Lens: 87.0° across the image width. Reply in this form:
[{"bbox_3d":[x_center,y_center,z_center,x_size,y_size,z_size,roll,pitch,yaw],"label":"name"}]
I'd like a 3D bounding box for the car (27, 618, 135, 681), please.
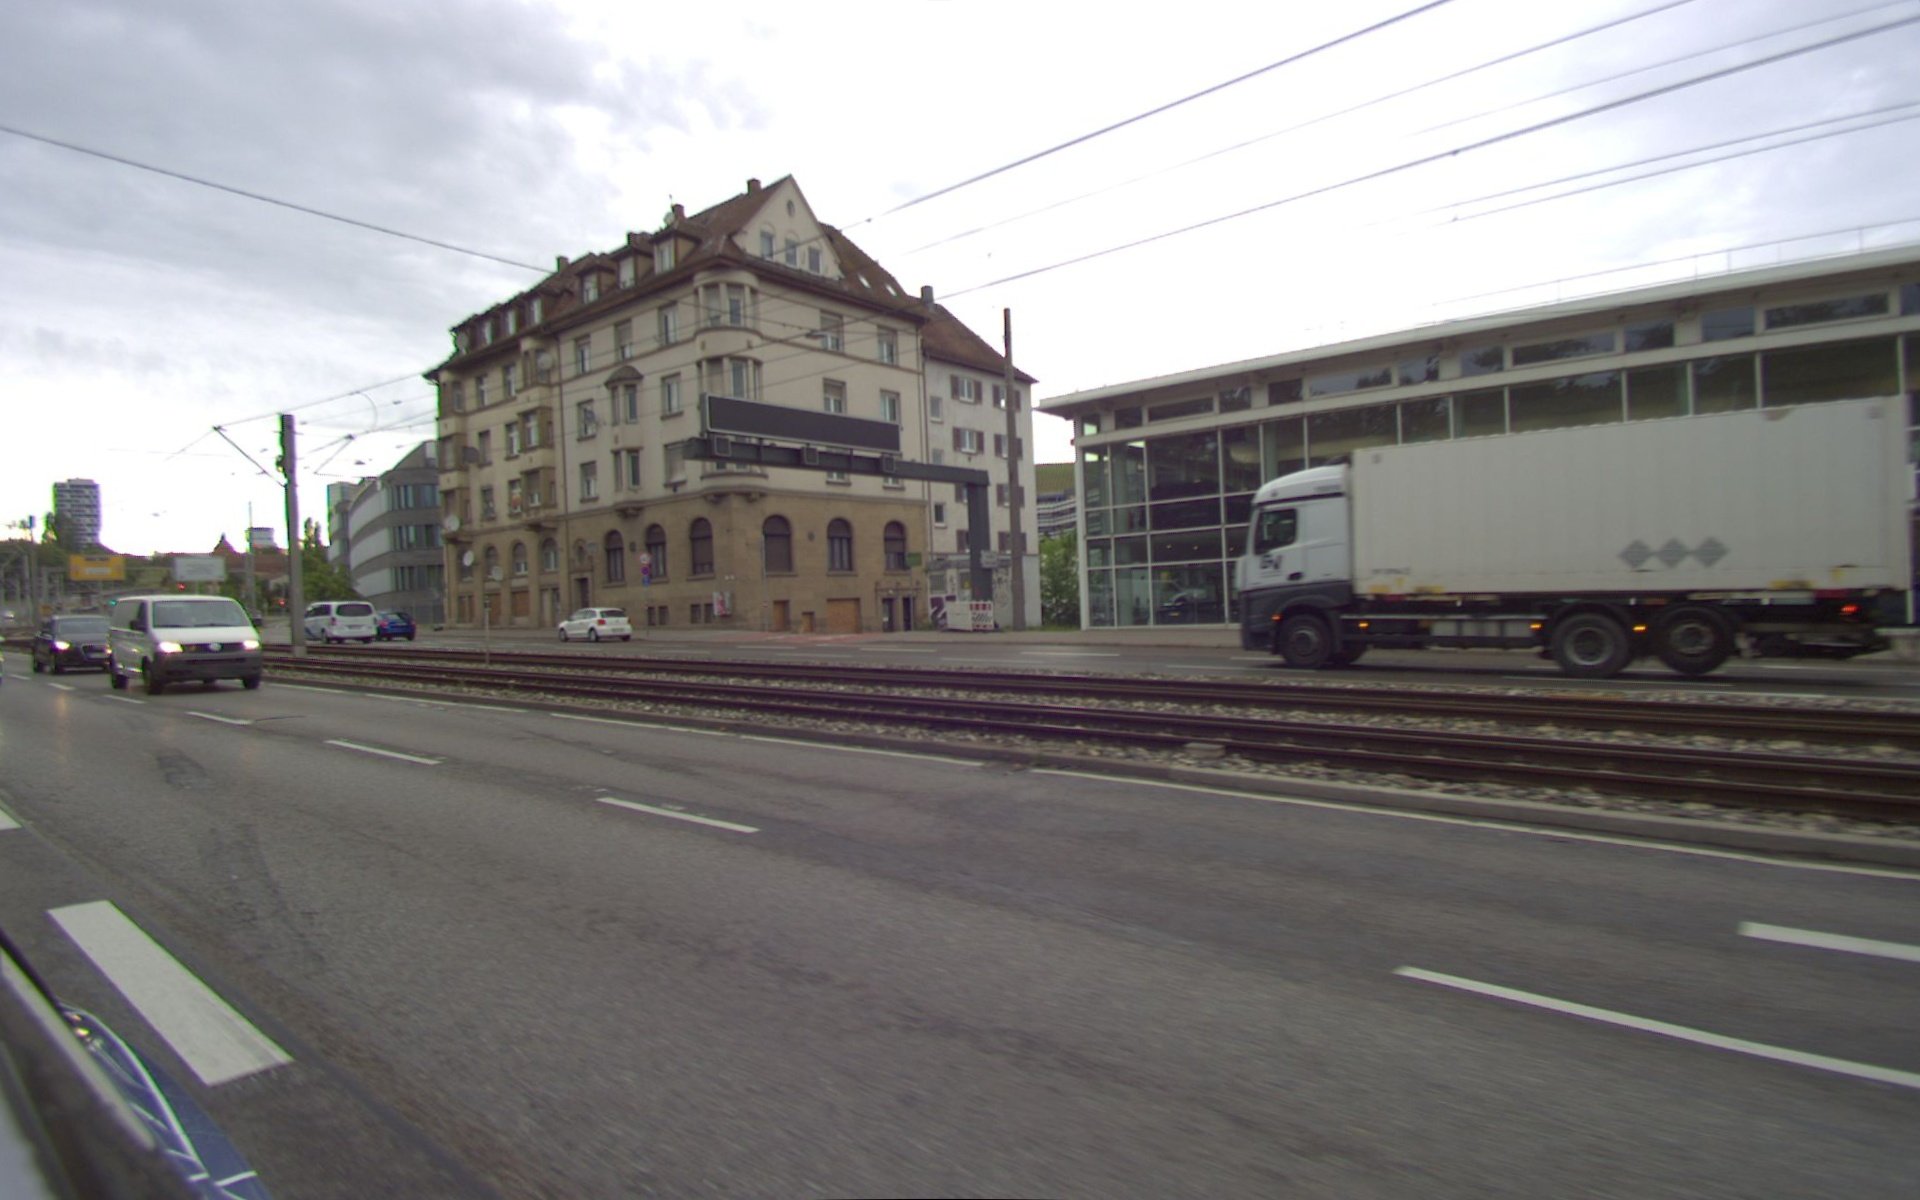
[{"bbox_3d":[-24.549,1.341,28.234,3.893,1.585,1.687,-2,-1,40],"label":"car"}]

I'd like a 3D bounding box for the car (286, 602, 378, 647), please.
[{"bbox_3d":[-28.409,1.093,45.695,5.188,1.888,1.974,-2,0,39],"label":"car"}]

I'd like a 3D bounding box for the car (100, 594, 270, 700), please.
[{"bbox_3d":[-16.306,0.925,21.204,4.714,1.973,1.890,-2,0,41],"label":"car"}]

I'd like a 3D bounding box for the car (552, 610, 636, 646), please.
[{"bbox_3d":[-15.537,1.180,42.856,3.848,1.415,1.663,-2,0,40],"label":"car"}]

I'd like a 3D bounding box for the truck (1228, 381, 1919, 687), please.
[{"bbox_3d":[9.996,-0.808,17.536,10.132,4.082,2.656,-1,-1,39],"label":"truck"}]

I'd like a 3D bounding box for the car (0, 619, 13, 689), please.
[{"bbox_3d":[-23.990,1.281,23.845,4.315,1.585,1.957,-2,-1,40],"label":"car"}]

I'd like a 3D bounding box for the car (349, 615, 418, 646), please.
[{"bbox_3d":[-28.609,1.502,50.163,4.328,1.444,1.590,-1,0,40],"label":"car"}]

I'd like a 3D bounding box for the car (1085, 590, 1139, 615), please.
[{"bbox_3d":[9.640,0.134,64.003,1.608,1.444,4.120,-1,0,36],"label":"car"}]
